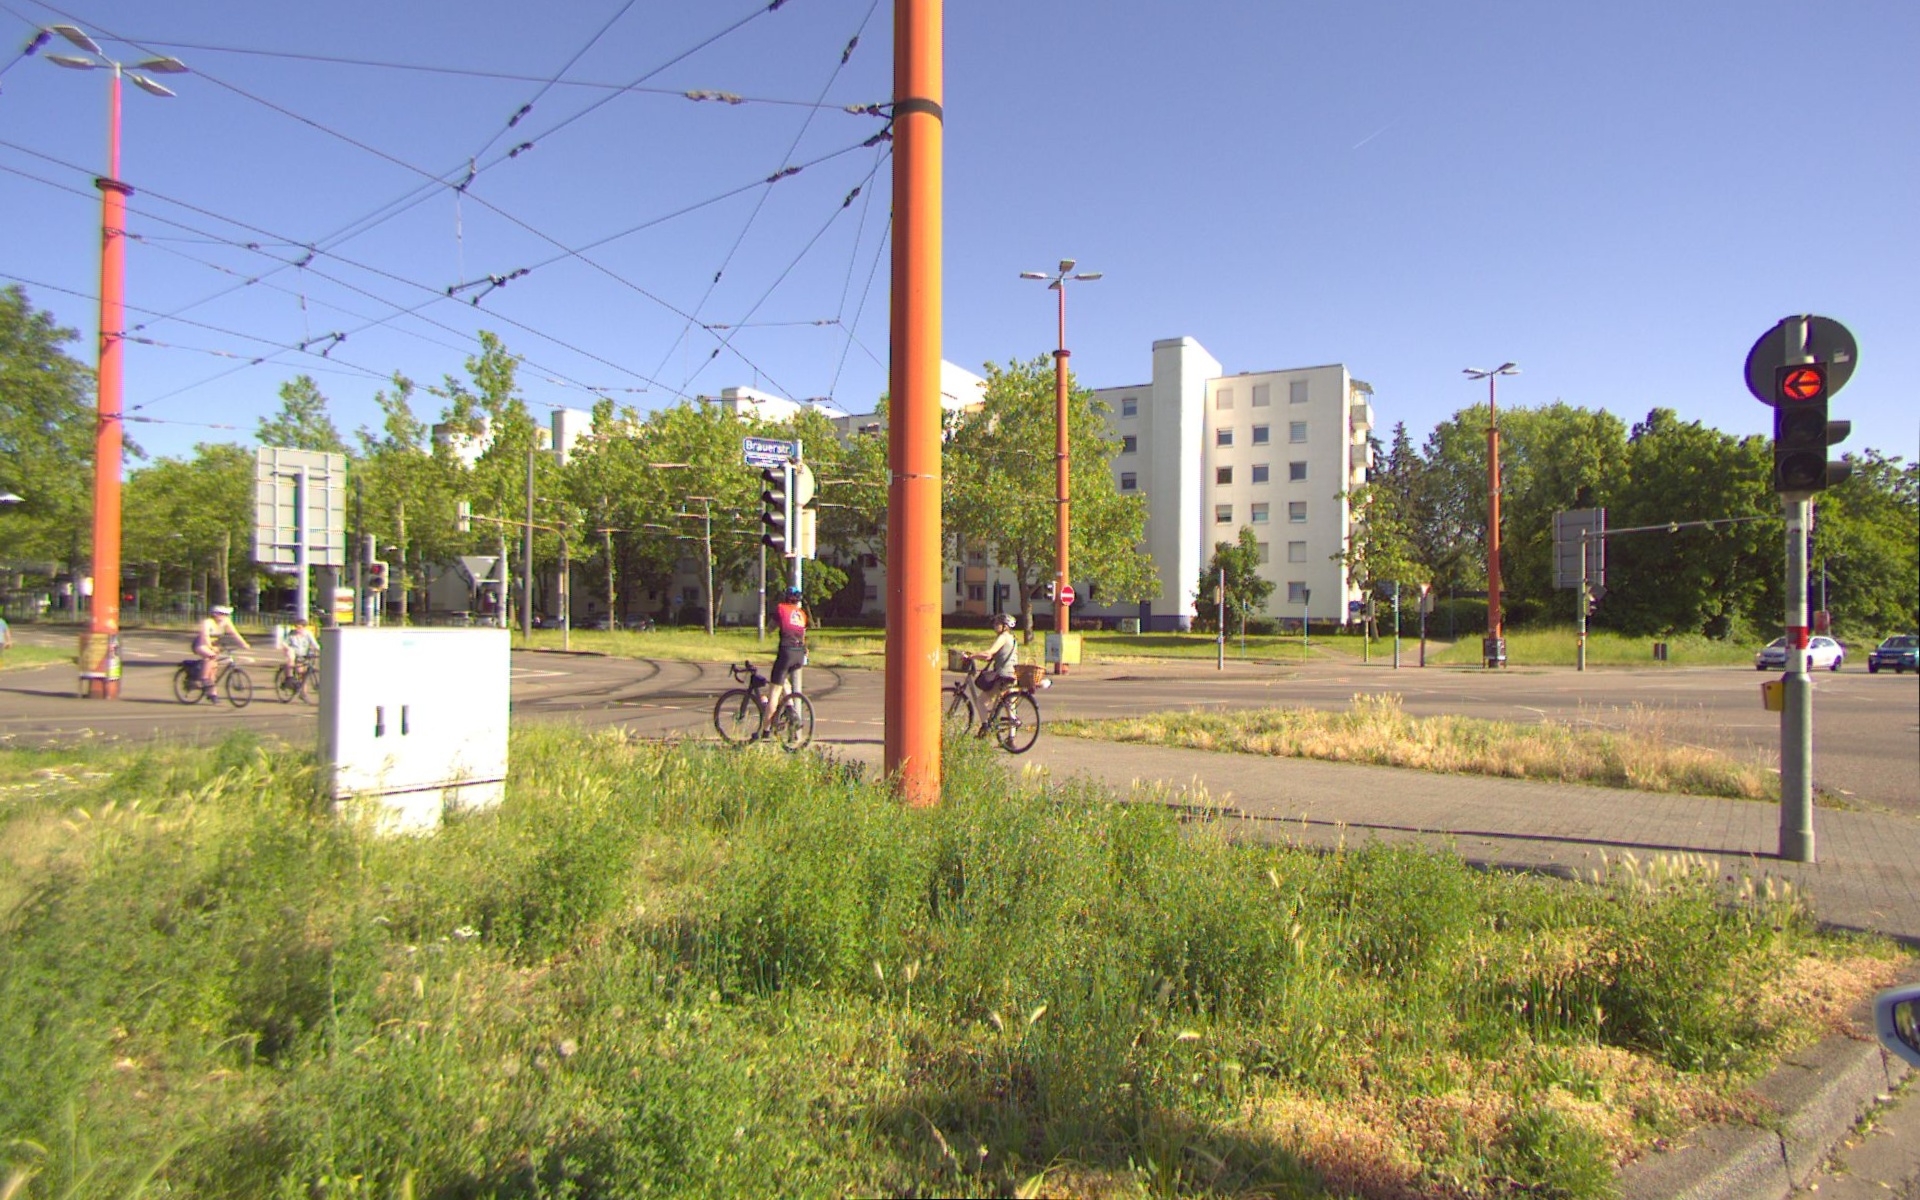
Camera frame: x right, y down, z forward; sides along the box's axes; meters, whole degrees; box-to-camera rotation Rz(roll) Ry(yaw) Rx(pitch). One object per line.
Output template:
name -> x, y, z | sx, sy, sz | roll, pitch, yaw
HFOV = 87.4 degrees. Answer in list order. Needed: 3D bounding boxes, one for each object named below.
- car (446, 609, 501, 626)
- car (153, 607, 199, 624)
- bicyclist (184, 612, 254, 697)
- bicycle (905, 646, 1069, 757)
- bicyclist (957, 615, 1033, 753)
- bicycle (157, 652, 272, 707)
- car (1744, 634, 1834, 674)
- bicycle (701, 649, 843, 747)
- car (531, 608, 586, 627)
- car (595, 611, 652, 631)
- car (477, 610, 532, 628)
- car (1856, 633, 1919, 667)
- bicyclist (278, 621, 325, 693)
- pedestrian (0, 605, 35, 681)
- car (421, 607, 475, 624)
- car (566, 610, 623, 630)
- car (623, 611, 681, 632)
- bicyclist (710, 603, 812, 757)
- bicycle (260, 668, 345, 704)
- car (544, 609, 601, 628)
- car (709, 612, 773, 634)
car -> -41.432, 1.488, 85.621 | 3.935, 1.428, 1.794 | 1, -1, -17
car -> -93.988, 1.886, 120.449 | 1.969, 2.040, 3.984 | 0, -1, 38
bicyclist -> -13.912, 1.015, 18.880 | 0.752, 1.565, 0.732 | 1, -1, -1
bicycle -> 0.314, 1.187, 12.249 | 1.915, 1.210, 0.690 | 0, -1, 33
bicyclist -> 0.429, 0.996, 12.188 | 0.651, 1.605, 0.671 | 0, -1, 33
bicycle -> -13.974, 1.481, 18.861 | 1.612, 0.974, 0.685 | 1, -1, -1
car -> 35.068, 2.257, 42.478 | 3.891, 1.552, 1.752 | 1, -1, -31
bicycle -> -2.328, 1.157, 12.312 | 1.804, 1.071, 0.719 | 0, -1, 40
car -> -31.935, 1.371, 79.969 | 3.935, 1.428, 1.794 | 1, -1, -17
car -> -24.993, 1.558, 74.693 | 3.934, 1.428, 1.794 | 1, -1, -16
car -> -38.029, 1.570, 83.880 | 3.935, 1.428, 1.794 | 1, -1, -17
car -> 37.161, 1.960, 39.622 | 3.571, 1.260, 1.730 | 1, -1, -31
bicyclist -> -13.056, 1.123, 19.928 | 0.616, 1.399, 0.443 | 1, -1, -1
pedestrian -> -23.526, 1.032, 24.509 | 0.968, 1.817, 0.955 | 1, -1, 4
car -> -44.787, 1.390, 87.891 | 3.935, 1.428, 1.794 | 1, -1, -17
car -> -27.574, 1.488, 75.917 | 3.934, 1.428, 1.794 | 1, -1, -16
car -> -22.252, 1.549, 72.643 | 3.934, 1.428, 1.794 | 1, -1, -16
bicyclist -> -2.401, 0.933, 12.128 | 0.981, 1.764, 0.734 | 0, -1, 37
bicycle -> -13.038, 1.694, 19.922 | 1.393, 0.668, 0.435 | 1, -1, 1
car -> -30.073, 1.420, 78.072 | 3.934, 1.428, 1.794 | 1, -1, -16
car -> -14.538, 1.552, 66.840 | 1.770, 1.428, 3.987 | 0, -1, 35
